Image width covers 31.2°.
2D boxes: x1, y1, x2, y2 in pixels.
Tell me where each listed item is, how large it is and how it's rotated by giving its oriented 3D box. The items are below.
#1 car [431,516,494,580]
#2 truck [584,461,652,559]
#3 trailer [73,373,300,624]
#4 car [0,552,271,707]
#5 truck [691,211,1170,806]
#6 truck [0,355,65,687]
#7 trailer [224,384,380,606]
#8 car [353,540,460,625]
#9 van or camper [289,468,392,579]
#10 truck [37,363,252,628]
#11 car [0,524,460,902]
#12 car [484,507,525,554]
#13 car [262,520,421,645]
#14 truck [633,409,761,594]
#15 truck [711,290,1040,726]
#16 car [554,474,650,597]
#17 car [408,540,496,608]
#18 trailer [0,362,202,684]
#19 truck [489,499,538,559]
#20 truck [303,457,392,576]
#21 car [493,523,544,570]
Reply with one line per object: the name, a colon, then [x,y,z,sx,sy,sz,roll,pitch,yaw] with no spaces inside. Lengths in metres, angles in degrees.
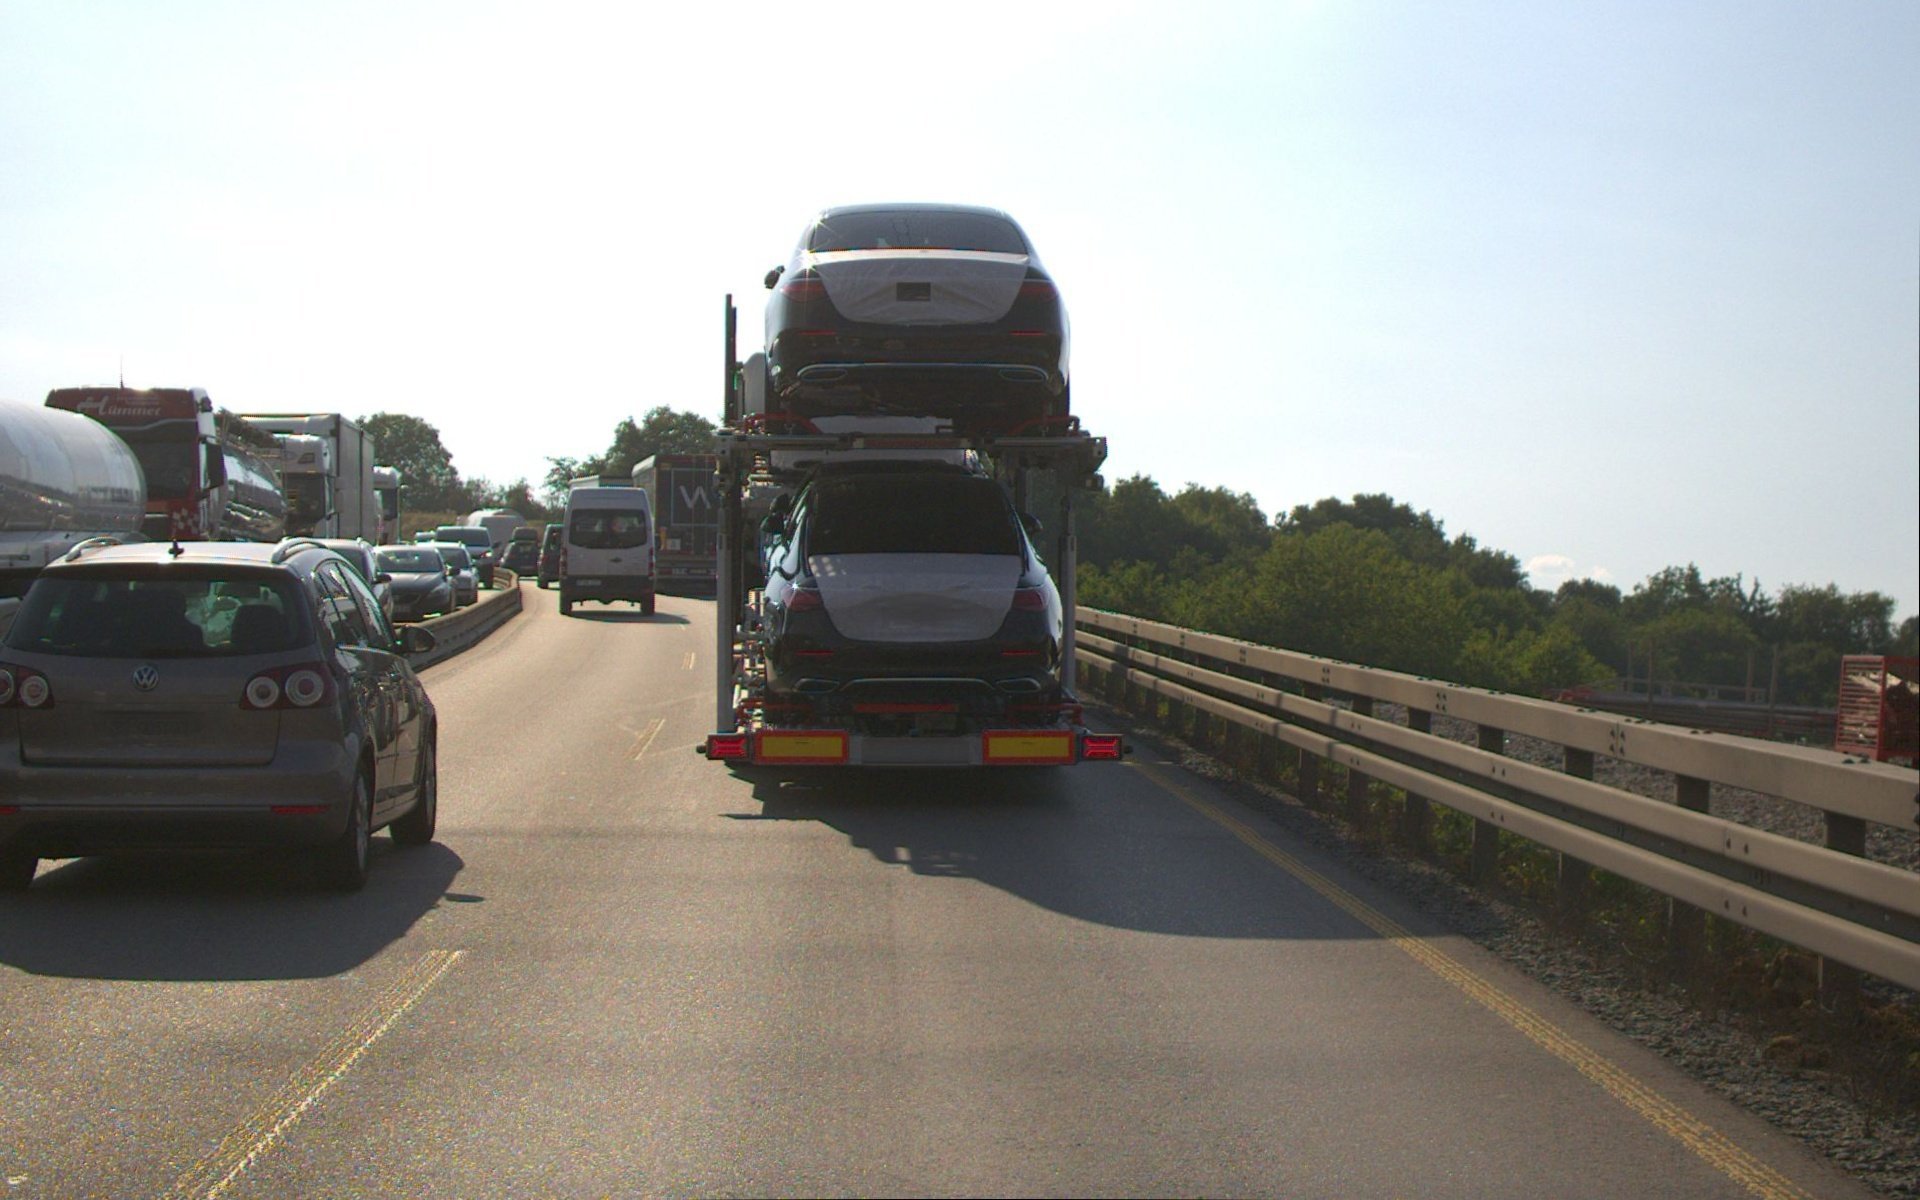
car: [-15.298,-1.595,105.834,1.816,1.919,4.837,1,1,-7]
truck: [-13.256,-3.437,133.725,2.530,3.635,8.907,1,1,-5]
trailer: [-12.866,-1.614,58.075,2.306,3.777,12.055,1,1,-6]
car: [-7.991,0.242,33.475,1.793,1.393,4.244,1,1,-1]
truck: [-0.454,-0.603,25.623,2.799,3.485,10.607,1,1,-3]
truck: [-10.971,-0.815,35.208,2.413,3.358,5.618,1,1,-3]
trailer: [-13.772,-2.121,72.554,2.475,4.314,10.513,1,1,-7]
car: [-9.640,-0.319,60.083,1.627,1.421,4.389,1,1,-6]
van or camper: [-16.826,-2.049,93.677,2.407,2.881,7.620,0,1,-8]
truck: [-12.305,-1.535,52.244,2.432,3.772,5.618,1,1,-6]
car: [-3.513,0.455,16.588,1.691,1.590,4.000,1,1,-1]
car: [-19.873,-3.032,149.959,1.629,2.007,4.001,0,1,-9]
car: [-8.215,-0.250,45.946,1.750,1.581,3.943,1,1,-5]
truck: [-7.954,-2.867,102.924,3.285,5.219,9.938,1,1,-7]
truck: [-1.004,-0.866,35.059,2.837,3.779,9.988,1,1,-3]
car: [-7.537,-1.357,72.709,1.920,2.484,5.410,1,1,-5]
car: [-11.007,-0.584,74.710,1.627,1.421,4.658,1,1,-5]
trailer: [-11.359,-0.888,41.756,2.306,3.350,12.054,1,1,-3]
truck: [-24.213,-3.815,186.365,2.590,3.159,6.678,0,1,-8]
truck: [-19.877,-2.688,111.811,2.600,3.741,6.519,0,1,-8]
car: [-17.073,-2.067,132.958,1.826,1.766,4.001,1,1,-6]
